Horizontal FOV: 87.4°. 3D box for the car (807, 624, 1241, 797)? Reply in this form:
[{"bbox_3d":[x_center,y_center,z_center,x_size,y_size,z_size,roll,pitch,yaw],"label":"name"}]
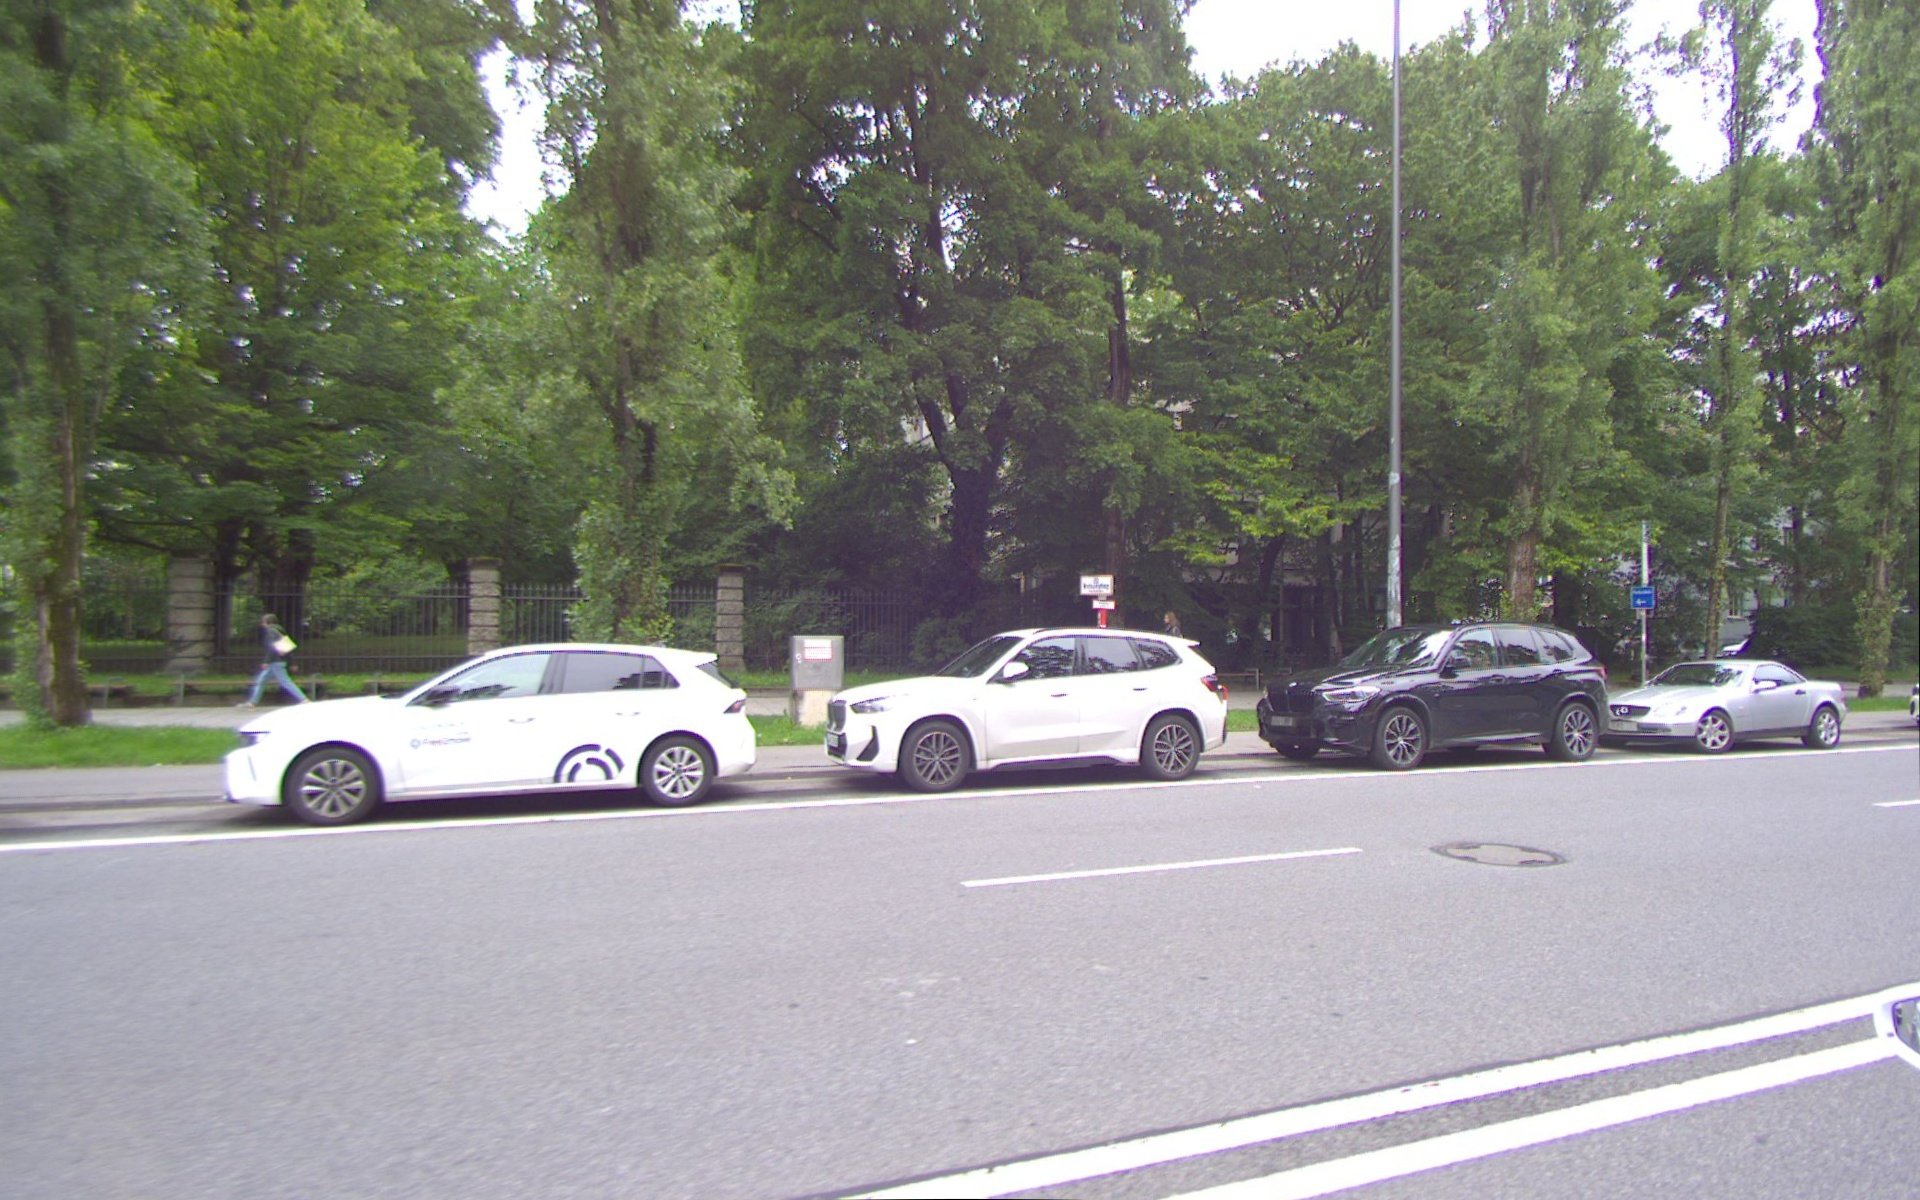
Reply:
[{"bbox_3d":[0.674,1.109,10.974,4.393,1.609,1.784,1,-3,-20],"label":"car"}]

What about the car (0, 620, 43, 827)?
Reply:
[{"bbox_3d":[-9.776,0.904,6.716,4.977,1.629,1.813,1,-4,-21],"label":"car"}]

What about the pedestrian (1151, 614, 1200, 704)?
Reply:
[{"bbox_3d":[4.517,1.221,21.063,0.764,1.839,0.639,1,-1,-20],"label":"pedestrian"}]

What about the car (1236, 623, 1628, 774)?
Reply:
[{"bbox_3d":[6.060,1.184,12.921,4.649,1.680,1.877,1,-4,-22],"label":"car"}]

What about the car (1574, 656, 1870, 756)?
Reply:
[{"bbox_3d":[11.287,1.495,14.897,3.967,1.321,1.579,1,-3,-20],"label":"car"}]

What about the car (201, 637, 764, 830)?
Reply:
[{"bbox_3d":[-4.003,1.084,9.063,4.174,1.440,1.674,1,-3,-21],"label":"car"}]

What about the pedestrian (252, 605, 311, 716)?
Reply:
[{"bbox_3d":[-11.071,0.978,16.402,0.663,1.771,0.548,1,-1,-21],"label":"pedestrian"}]

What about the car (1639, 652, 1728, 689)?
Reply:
[{"bbox_3d":[36.396,3.506,50.539,4.213,1.706,1.986,1,-2,-28],"label":"car"}]

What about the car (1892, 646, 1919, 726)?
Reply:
[{"bbox_3d":[19.125,1.551,18.230,3.946,1.431,1.683,1,-3,-22],"label":"car"}]
